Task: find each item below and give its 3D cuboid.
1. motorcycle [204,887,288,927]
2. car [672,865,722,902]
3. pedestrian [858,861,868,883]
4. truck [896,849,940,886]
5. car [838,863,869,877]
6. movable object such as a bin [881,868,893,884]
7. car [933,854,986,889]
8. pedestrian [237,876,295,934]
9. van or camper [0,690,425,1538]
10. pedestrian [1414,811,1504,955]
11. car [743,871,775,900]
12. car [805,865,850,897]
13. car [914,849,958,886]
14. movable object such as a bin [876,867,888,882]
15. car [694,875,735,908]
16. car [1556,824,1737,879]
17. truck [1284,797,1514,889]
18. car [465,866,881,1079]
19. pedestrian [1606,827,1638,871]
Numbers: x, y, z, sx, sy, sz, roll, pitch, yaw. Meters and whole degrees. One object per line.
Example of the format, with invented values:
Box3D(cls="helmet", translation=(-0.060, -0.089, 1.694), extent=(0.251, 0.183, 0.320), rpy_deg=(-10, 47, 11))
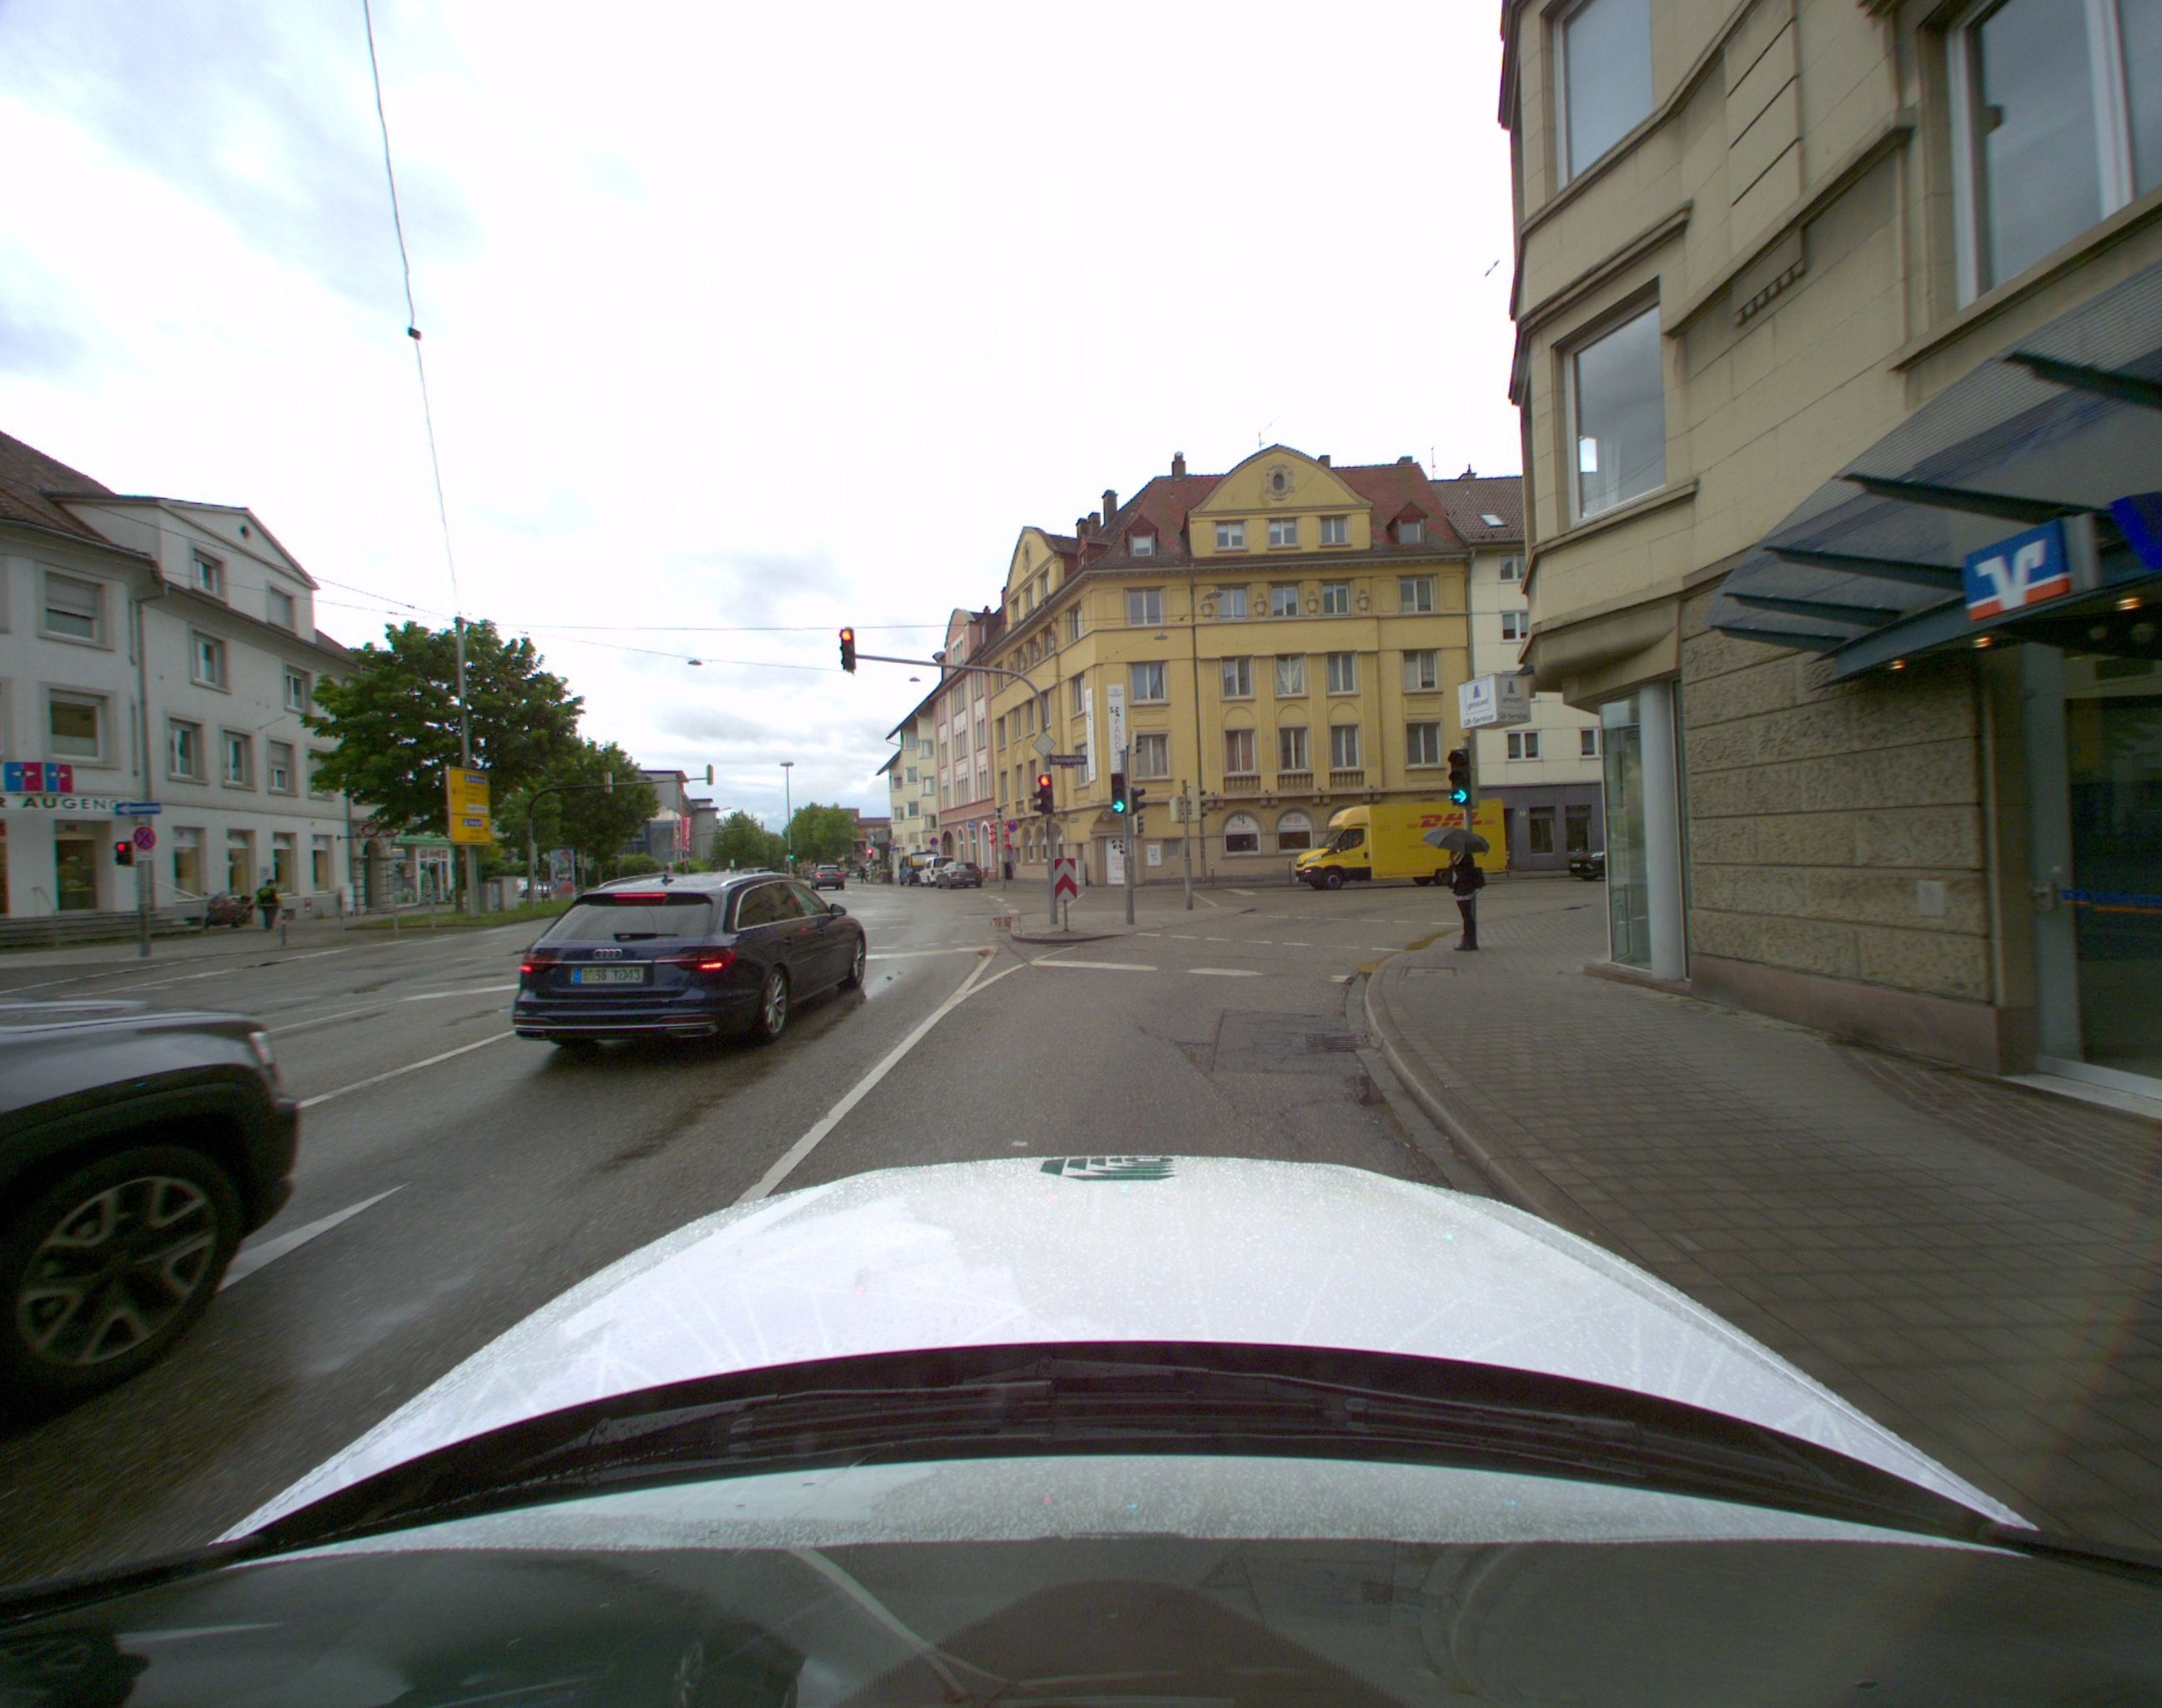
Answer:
Box3D(cls="motorcycle", translation=(-28.727, 1.785, 28.071), extent=(0.720, 1.178, 2.577), rpy_deg=(-2, 0, -13))
Box3D(cls="car", translation=(-18.920, 1.392, 40.267), extent=(1.851, 1.684, 3.973), rpy_deg=(0, 0, -20))
Box3D(cls="pedestrian", translation=(-19.832, 1.642, 73.992), extent=(0.726, 1.937, 0.786), rpy_deg=(-2, 0, -25))
Box3D(cls="truck", translation=(-11.201, 0.891, 55.716), extent=(2.035, 2.389, 4.203), rpy_deg=(-1, 0, -24))
Box3D(cls="car", translation=(-33.425, 2.353, 119.617), extent=(4.016, 2.014, 1.979), rpy_deg=(1, -1, -34))
Box3D(cls="movable object such as a bin", translation=(-15.448, 1.719, 64.730), extent=(0.751, 1.231, 0.976), rpy_deg=(3, -1, -23))
Box3D(cls="car", translation=(-6.598, 0.906, 43.969), extent=(1.887, 1.636, 3.970), rpy_deg=(-3, 2, -23))
Box3D(cls="pedestrian", translation=(-25.590, 1.576, 25.596), extent=(0.966, 1.708, 0.927), rpy_deg=(-2, 1, -24))
Box3D(cls="van or camper", translation=(-3.655, 0.670, 1.323), extent=(1.849, 2.146, 4.140), rpy_deg=(-1, 0, -2))
Box3D(cls="pedestrian", translation=(5.264, 0.388, 11.408), extent=(1.048, 1.903, 1.030), rpy_deg=(-2, 0, 23))
Box3D(cls="car", translation=(-24.292, 2.325, 61.557), extent=(2.000, 2.013, 3.973), rpy_deg=(-2, 0, -20))
Box3D(cls="car", translation=(-15.618, 1.590, 50.091), extent=(2.004, 1.816, 3.965), rpy_deg=(-2, 0, -27))
Box3D(cls="car", translation=(-9.023, 0.803, 50.432), extent=(1.770, 2.180, 3.968), rpy_deg=(-1, 0, -24))
Box3D(cls="movable object such as a bin", translation=(-16.110, 1.653, 66.067), extent=(0.751, 1.231, 0.976), rpy_deg=(3, -1, -23))
Box3D(cls="car", translation=(-20.479, 2.059, 45.563), extent=(1.769, 1.634, 3.600), rpy_deg=(-2, 0, -20))
Box3D(cls="car", translation=(19.318, -0.096, 27.989), extent=(4.793, 1.684, 2.000), rpy_deg=(-2, 0, 1))
Box3D(cls="truck", translation=(10.842, -0.362, 28.129), extent=(7.066, 2.851, 2.083), rpy_deg=(-2, -1, 0))
Box3D(cls="car", translation=(-3.404, 0.851, 8.001), extent=(1.798, 1.406, 4.681), rpy_deg=(-1, 0, -2))
Box3D(cls="pedestrian", translation=(22.595, -0.210, 34.022), extent=(0.787, 1.791, 0.763), rpy_deg=(-2, 0, 1))
